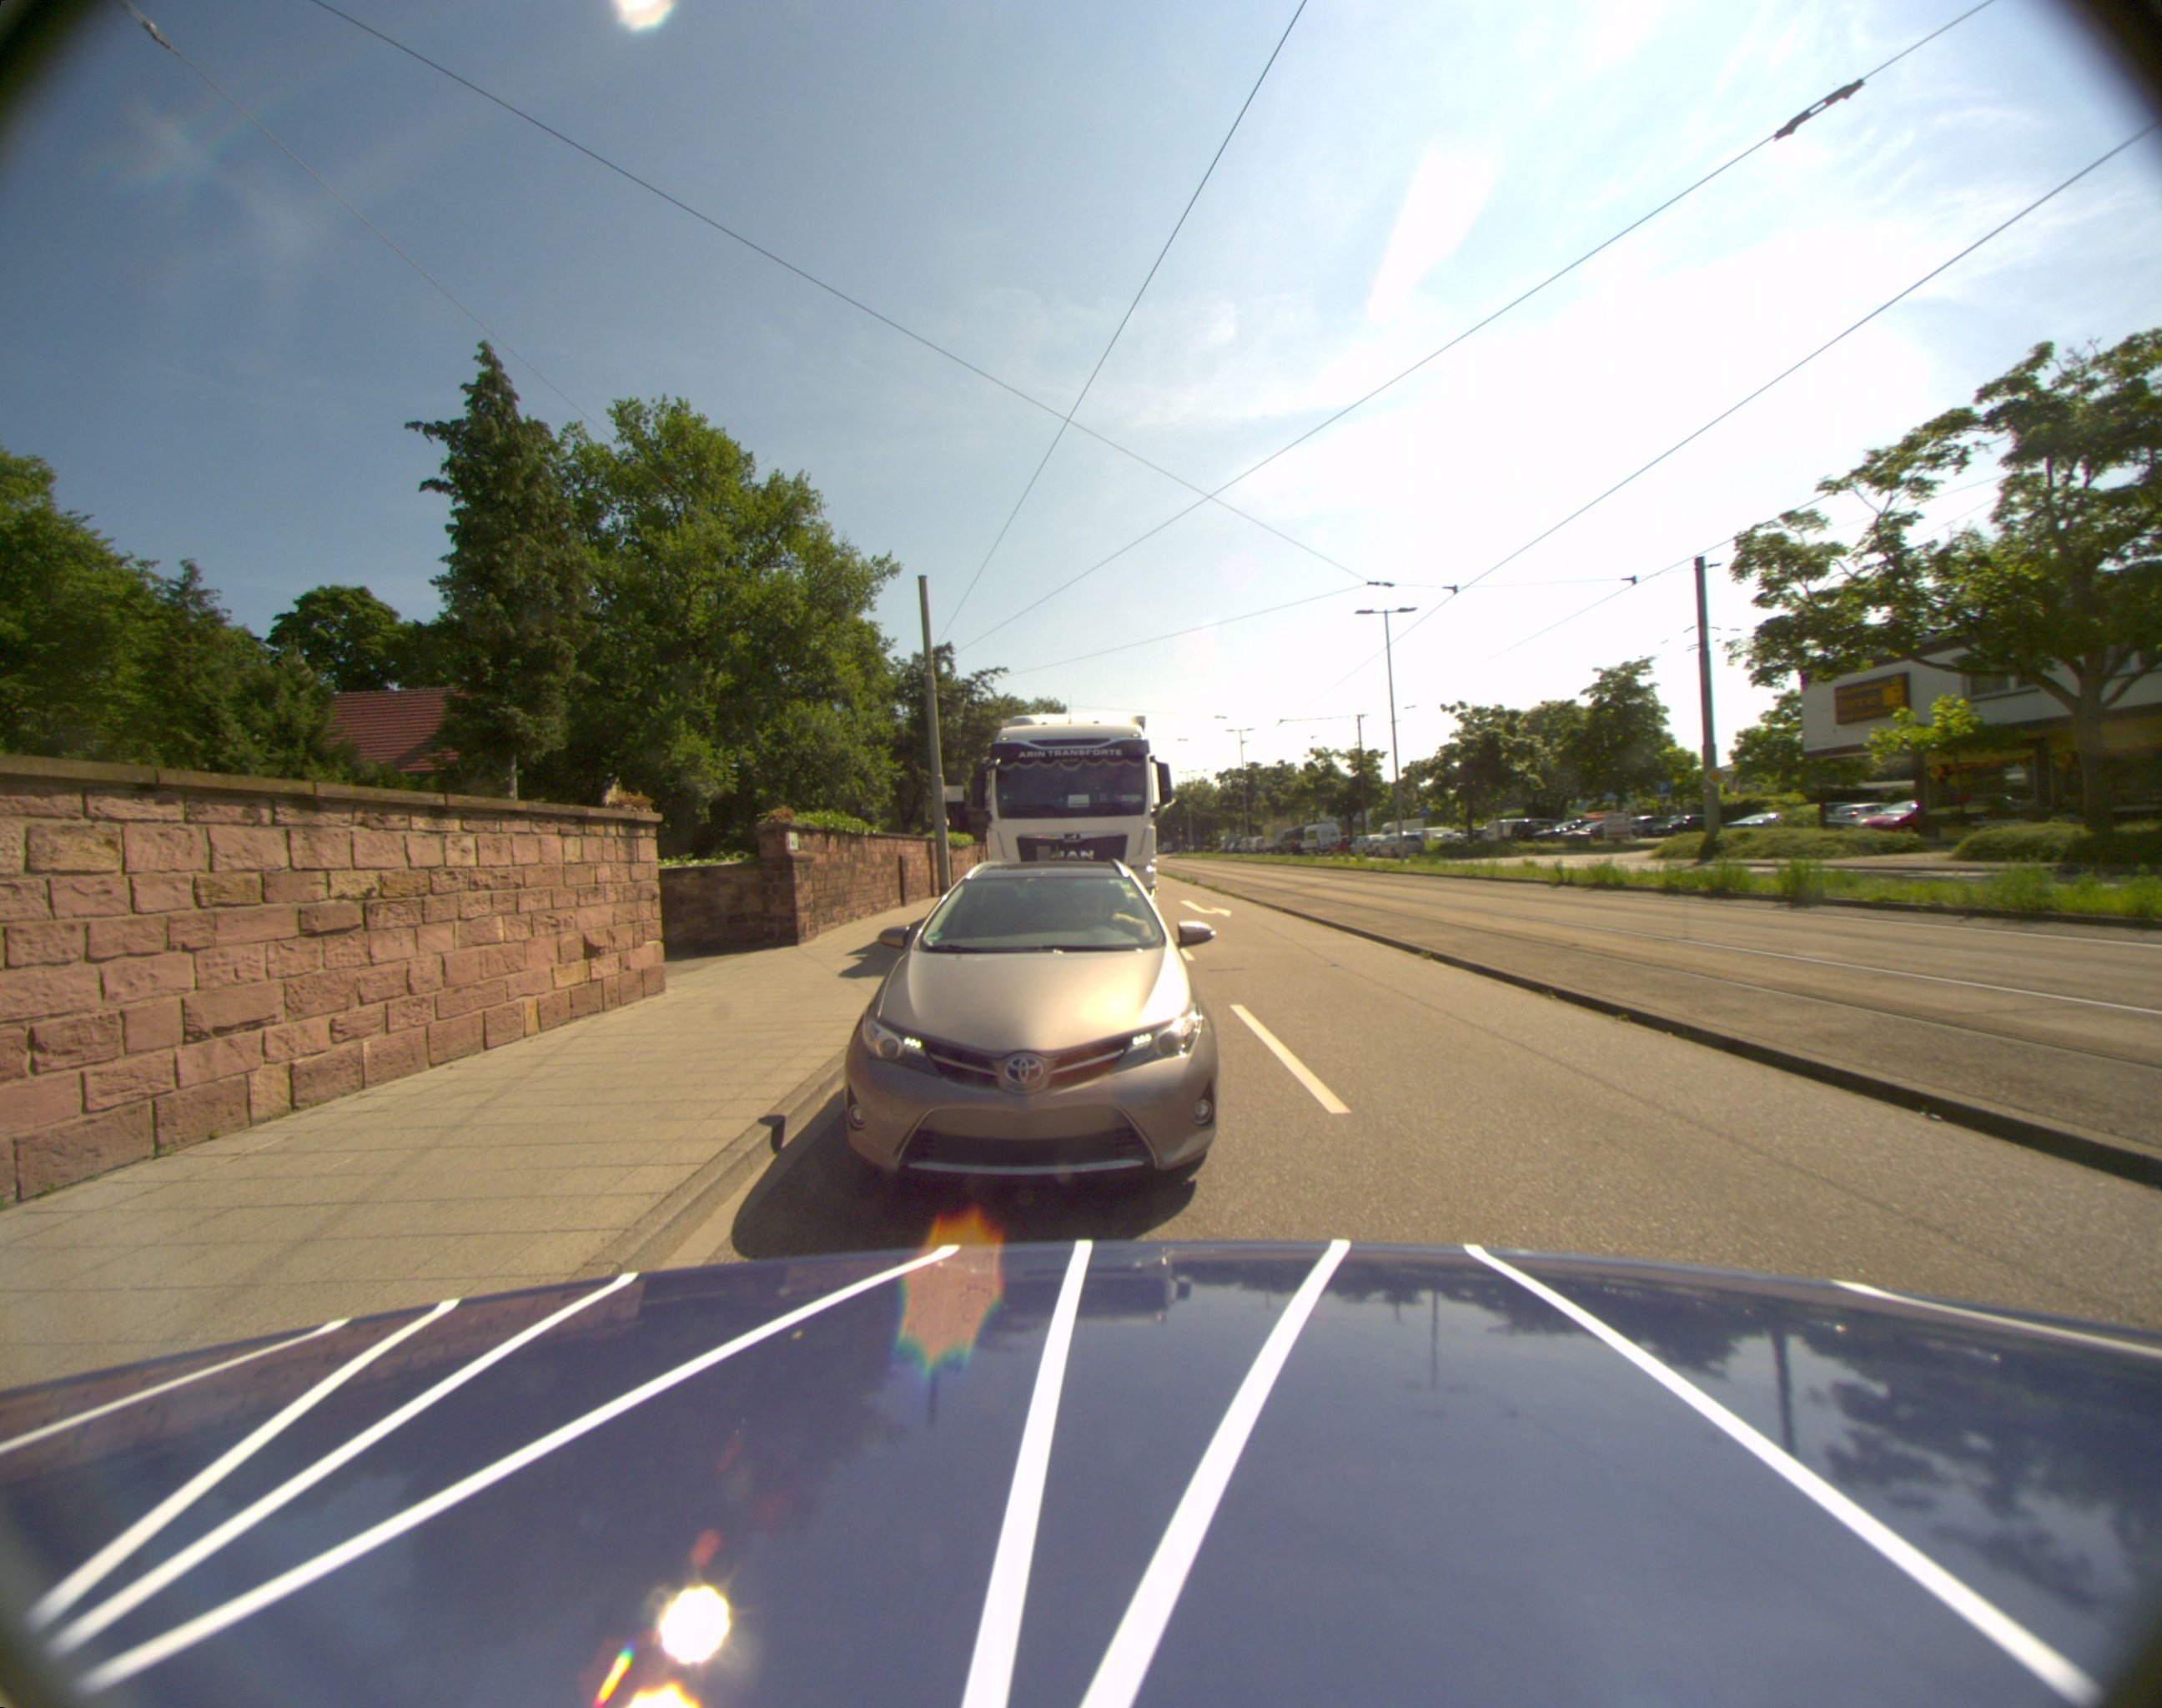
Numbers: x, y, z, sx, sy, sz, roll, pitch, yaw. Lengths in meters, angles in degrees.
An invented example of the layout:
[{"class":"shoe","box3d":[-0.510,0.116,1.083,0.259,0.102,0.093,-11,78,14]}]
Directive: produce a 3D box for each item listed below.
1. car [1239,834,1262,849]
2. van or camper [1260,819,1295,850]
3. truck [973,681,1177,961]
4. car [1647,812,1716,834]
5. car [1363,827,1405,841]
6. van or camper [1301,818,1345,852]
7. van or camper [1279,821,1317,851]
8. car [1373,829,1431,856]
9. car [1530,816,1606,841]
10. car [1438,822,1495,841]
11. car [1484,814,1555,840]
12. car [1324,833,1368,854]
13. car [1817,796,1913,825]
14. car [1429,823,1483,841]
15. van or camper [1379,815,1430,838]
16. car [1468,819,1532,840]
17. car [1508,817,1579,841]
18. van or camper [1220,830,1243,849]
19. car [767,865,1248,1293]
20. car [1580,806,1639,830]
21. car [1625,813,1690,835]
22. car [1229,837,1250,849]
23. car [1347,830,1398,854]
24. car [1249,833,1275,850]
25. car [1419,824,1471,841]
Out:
[{"class":"car","box3d":[21.078,-1.511,94.476,1.893,1.757,4.231,-3,1,0]},{"class":"van or camper","box3d":[20.312,-1.957,78.925,2.128,2.968,5.281,-3,1,0]},{"class":"truck","box3d":[-0.019,-0.508,15.198,2.746,3.852,9.110,-2,1,1]},{"class":"car","box3d":[43.553,-2.224,55.117,3.624,1.354,1.712,-3,1,-1]},{"class":"car","box3d":[32.029,-2.128,80.379,3.624,1.274,1.712,-3,1,-1]},{"class":"van or camper","box3d":[20.287,-1.539,63.982,2.040,2.617,4.839,-3,1,0]},{"class":"van or camper","box3d":[20.236,-1.651,71.036,2.040,2.617,4.839,-3,1,0]},{"class":"car","box3d":[20.325,-0.719,48.335,1.892,1.486,4.285,-6,1,2]},{"class":"car","box3d":[30.510,-1.579,47.639,3.624,1.354,1.712,-3,1,-1]},{"class":"car","box3d":[30.977,-1.774,61.067,3.624,1.274,1.812,-3,1,-1]},{"class":"car","box3d":[30.464,-1.841,52.846,3.749,1.560,1.950,-3,1,-1]},{"class":"car","box3d":[20.519,-0.832,59.024,1.893,1.486,4.231,-3,1,0]},{"class":"car","box3d":[43.801,-2.421,42.489,3.624,1.354,1.712,-3,1,-1]},{"class":"car","box3d":[31.459,-1.837,63.837,3.624,1.274,1.712,-3,1,-1]},{"class":"van or camper","box3d":[44.893,-3.818,105.566,6.081,2.715,2.299,-3,1,3]},{"class":"car","box3d":[30.392,-1.792,55.173,3.624,1.277,1.712,-3,1,-1]},{"class":"car","box3d":[30.633,-1.626,50.379,3.624,1.354,1.712,-3,1,-1]},{"class":"van or camper","box3d":[21.202,-2.052,107.386,2.114,2.604,5.451,-2,1,1]},{"class":"car","box3d":[-0.247,0.893,5.111,1.742,1.424,4.462,-3,1,1]},{"class":"car","box3d":[43.607,-2.947,62.684,3.624,1.767,1.712,-3,1,-1]},{"class":"car","box3d":[43.754,-2.260,57.708,3.624,1.354,1.712,-3,1,-1]},{"class":"car","box3d":[20.936,-1.456,100.479,1.893,1.551,4.231,-3,1,0]},{"class":"car","box3d":[20.548,-0.855,53.724,1.893,1.551,4.284,-3,1,0]},{"class":"car","box3d":[20.802,-1.417,87.541,1.893,1.724,4.231,-3,1,0]},{"class":"car","box3d":[31.710,-1.885,66.205,3.624,1.274,1.712,-3,1,-1]}]
